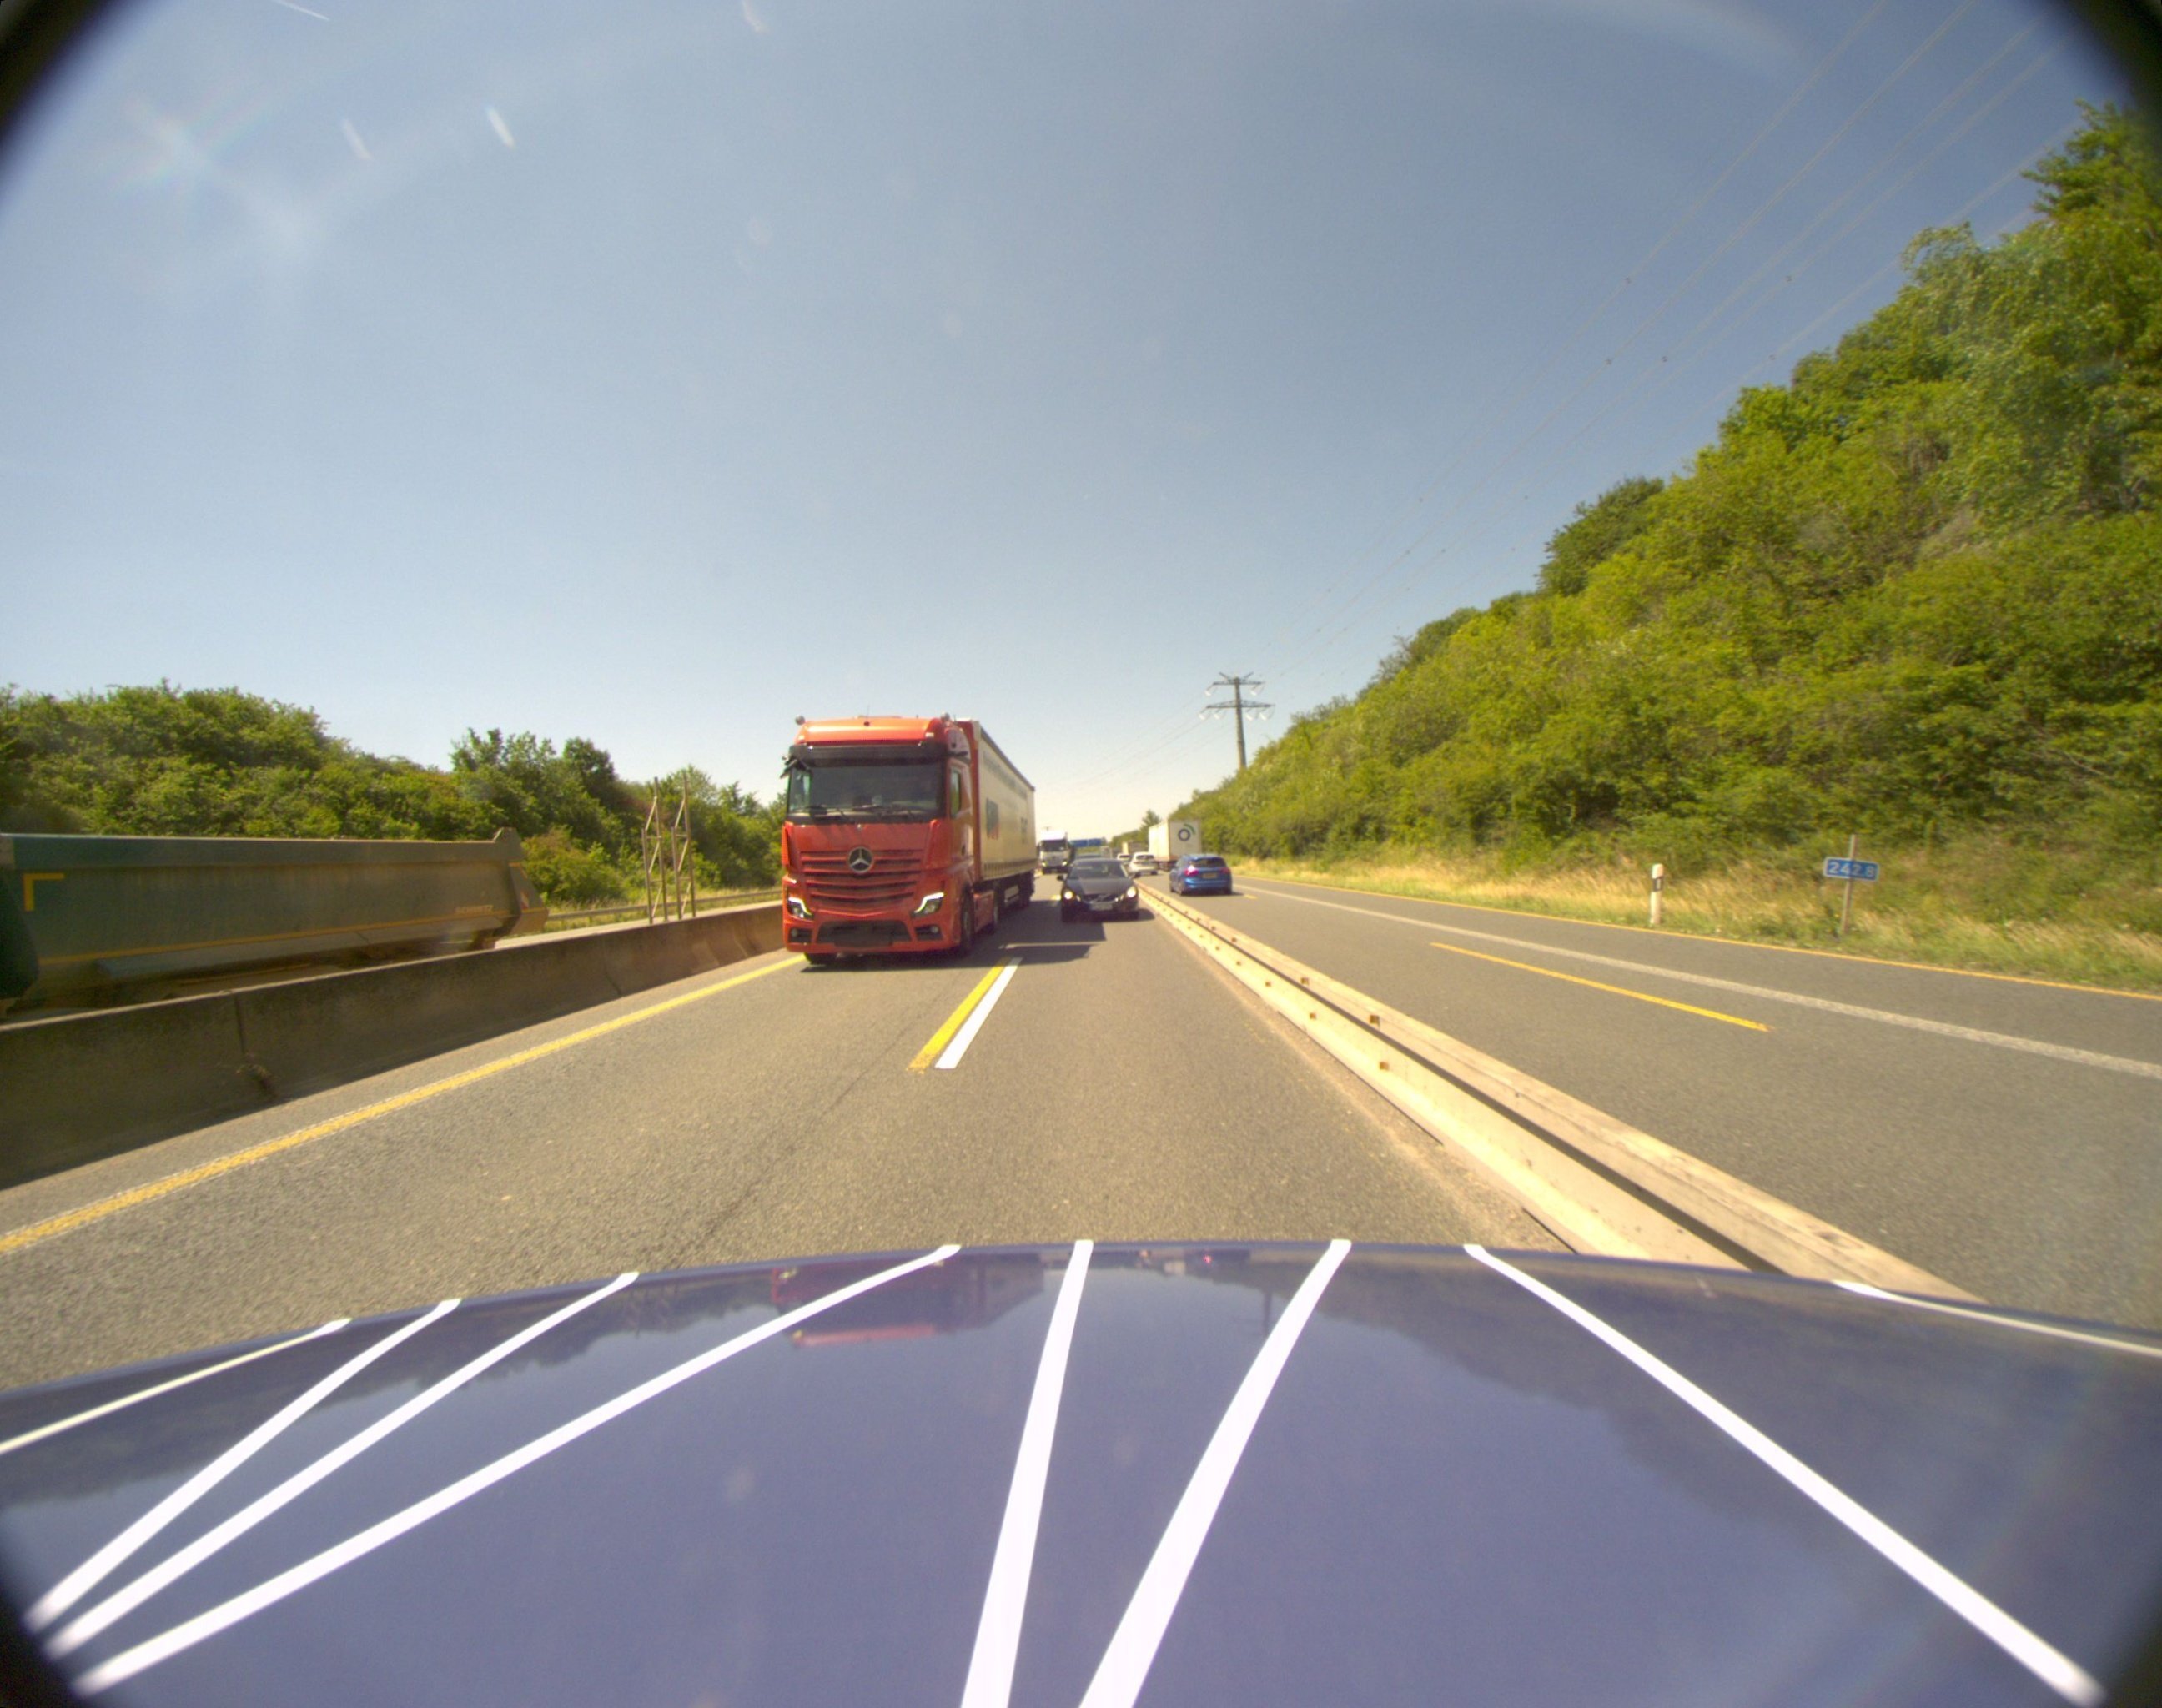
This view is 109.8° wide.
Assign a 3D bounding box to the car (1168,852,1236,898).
[{"bbox_3d":[4.292,0.693,27.445,1.717,1.417,4.169,-3,1,0],"label":"car"}]

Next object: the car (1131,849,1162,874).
[{"bbox_3d":[4.628,0.533,54.353,1.767,1.622,4.296,-3,1,0],"label":"car"}]

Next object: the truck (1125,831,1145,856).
[{"bbox_3d":[9.266,-1.717,131.868,2.656,3.969,9.650,-4,0,1],"label":"truck"}]

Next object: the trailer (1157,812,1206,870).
[{"bbox_3d":[8.109,-1.026,62.225,2.644,4.287,8.447,-3,0,0],"label":"trailer"}]

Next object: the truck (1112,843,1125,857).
[{"bbox_3d":[9.276,-1.015,189.266,2.412,3.312,7.496,-3,2,-1],"label":"truck"}]

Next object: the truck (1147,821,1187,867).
[{"bbox_3d":[8.008,-0.893,71.656,2.416,3.969,10.351,-3,0,0],"label":"truck"}]

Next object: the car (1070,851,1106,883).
[{"bbox_3d":[0.400,0.656,41.235,1.767,1.523,4.698,-3,1,1],"label":"car"}]

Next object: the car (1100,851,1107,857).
[{"bbox_3d":[5.886,-0.020,200.624,1.846,1.481,4.510,-1,1,0],"label":"car"}]

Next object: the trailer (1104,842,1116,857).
[{"bbox_3d":[8.584,-1.346,225.195,2.899,4.101,13.244,-4,0,1],"label":"trailer"}]

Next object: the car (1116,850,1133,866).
[{"bbox_3d":[5.068,0.455,89.059,1.829,1.621,4.151,-2,1,3],"label":"car"}]

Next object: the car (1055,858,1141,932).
[{"bbox_3d":[0.403,0.884,18.413,1.767,1.411,4.698,-3,1,1],"label":"car"}]

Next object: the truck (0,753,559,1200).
[{"bbox_3d":[-9.733,0.994,7.604,2.539,3.490,9.096,-2,0,0],"label":"truck"}]

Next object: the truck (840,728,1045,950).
[{"bbox_3d":[-2.887,-0.354,20.673,2.689,3.987,13.218,-3,1,1],"label":"truck"}]

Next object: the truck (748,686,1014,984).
[{"bbox_3d":[-3.044,-0.291,13.815,2.689,3.987,6.725,-3,1,2],"label":"truck"}]

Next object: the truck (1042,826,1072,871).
[{"bbox_3d":[-2.269,-0.557,76.089,2.481,4.030,13.109,-3,0,0],"label":"truck"}]

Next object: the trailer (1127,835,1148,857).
[{"bbox_3d":[9.100,-1.298,122.598,2.657,3.317,8.918,-4,0,1],"label":"trailer"}]
